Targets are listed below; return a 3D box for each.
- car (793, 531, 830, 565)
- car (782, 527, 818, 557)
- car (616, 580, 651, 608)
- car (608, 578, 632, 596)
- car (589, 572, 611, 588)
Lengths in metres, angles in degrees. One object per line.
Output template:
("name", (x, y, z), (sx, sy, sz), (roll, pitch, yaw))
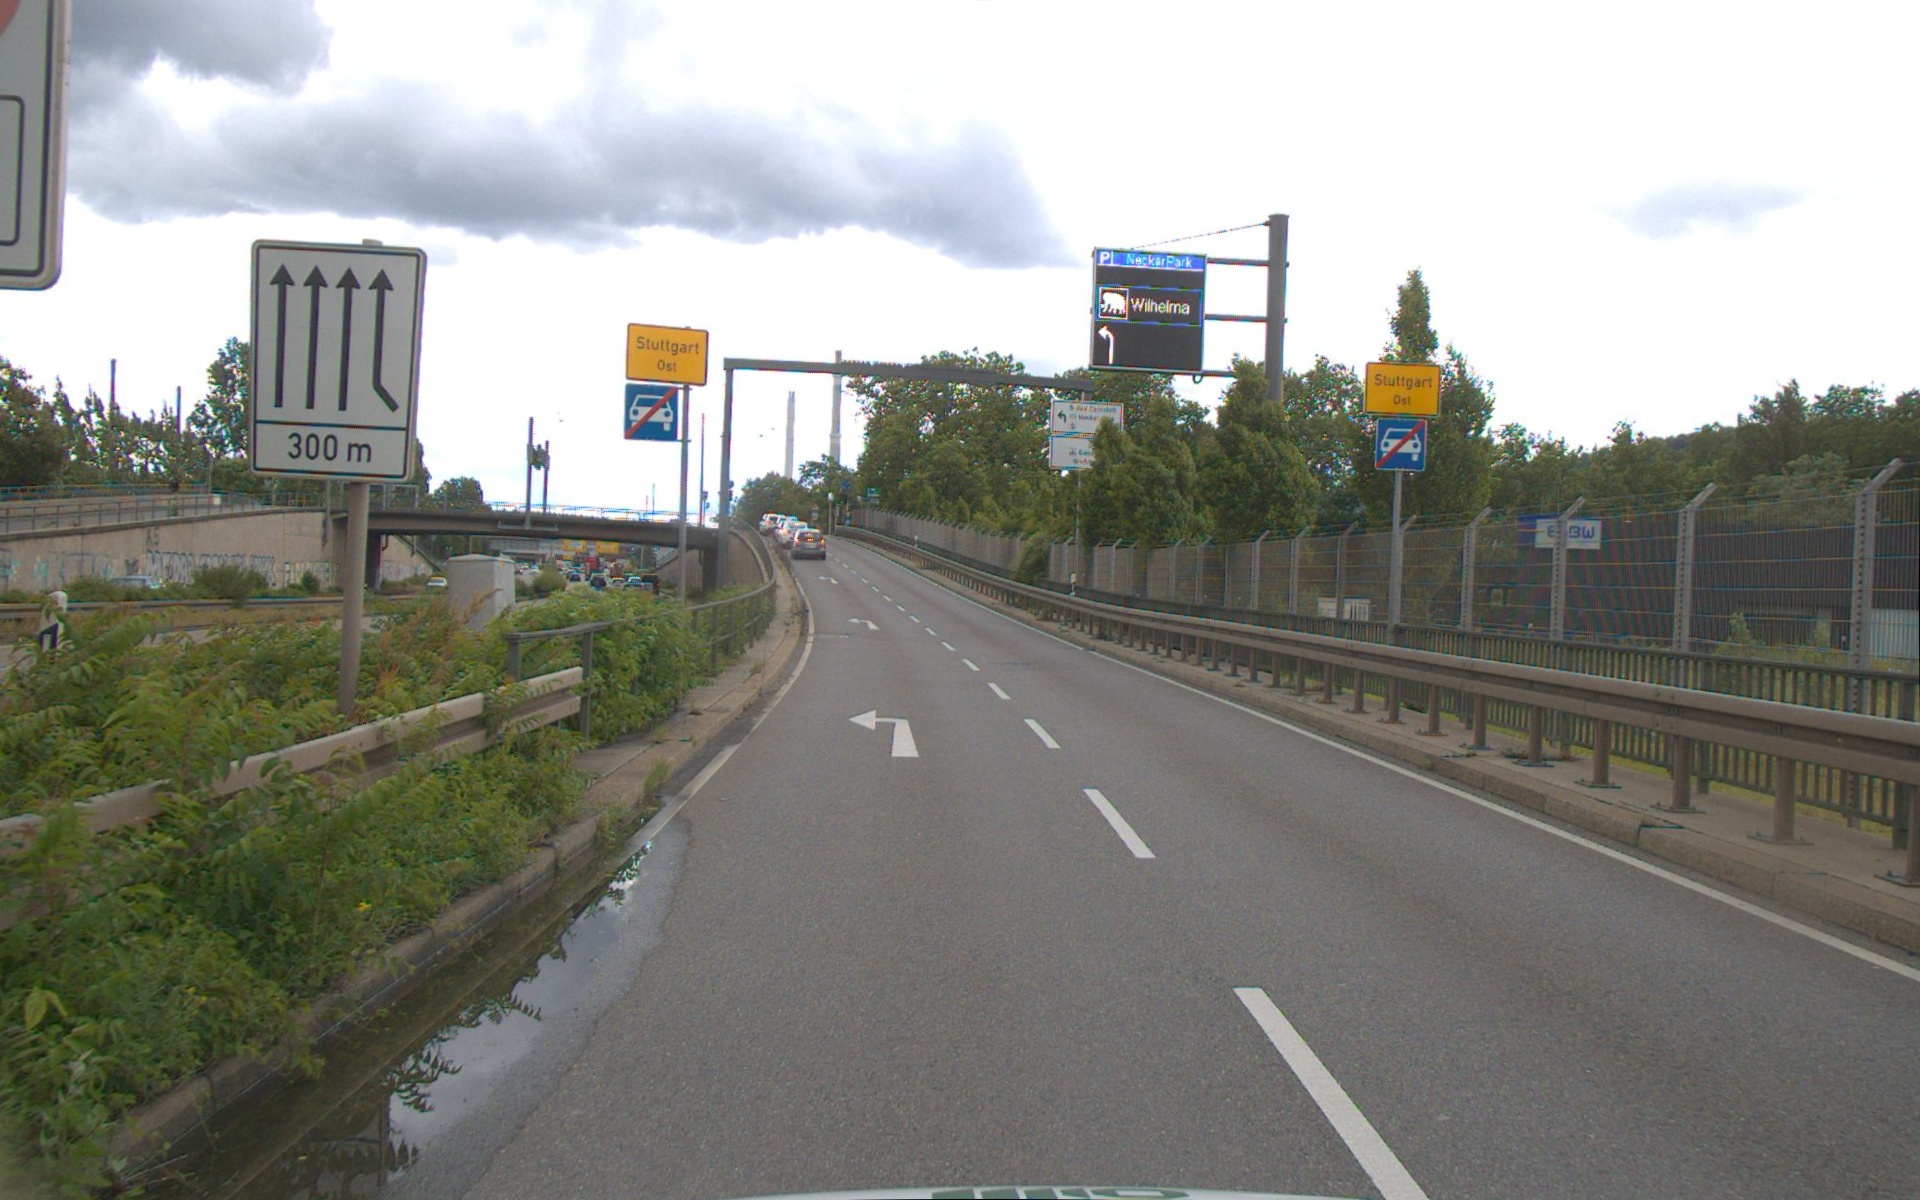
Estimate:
("car", (-7.995, -2.788, 89.421), (1.715, 1.608, 4.083), (3, 0, -2))
("car", (-9.772, -3.551, 100.603), (1.956, 1.630, 3.995), (1, 4, -9))
("car", (-19.524, -0.384, 98.814), (1.958, 1.444, 3.989), (2, 1, -12))
("car", (-34.671, -1.309, 168.844), (1.955, 1.713, 3.996), (2, 1, -6))
("car", (-40.931, -2.268, 187.964), (1.955, 1.713, 3.996), (2, 1, -6))
